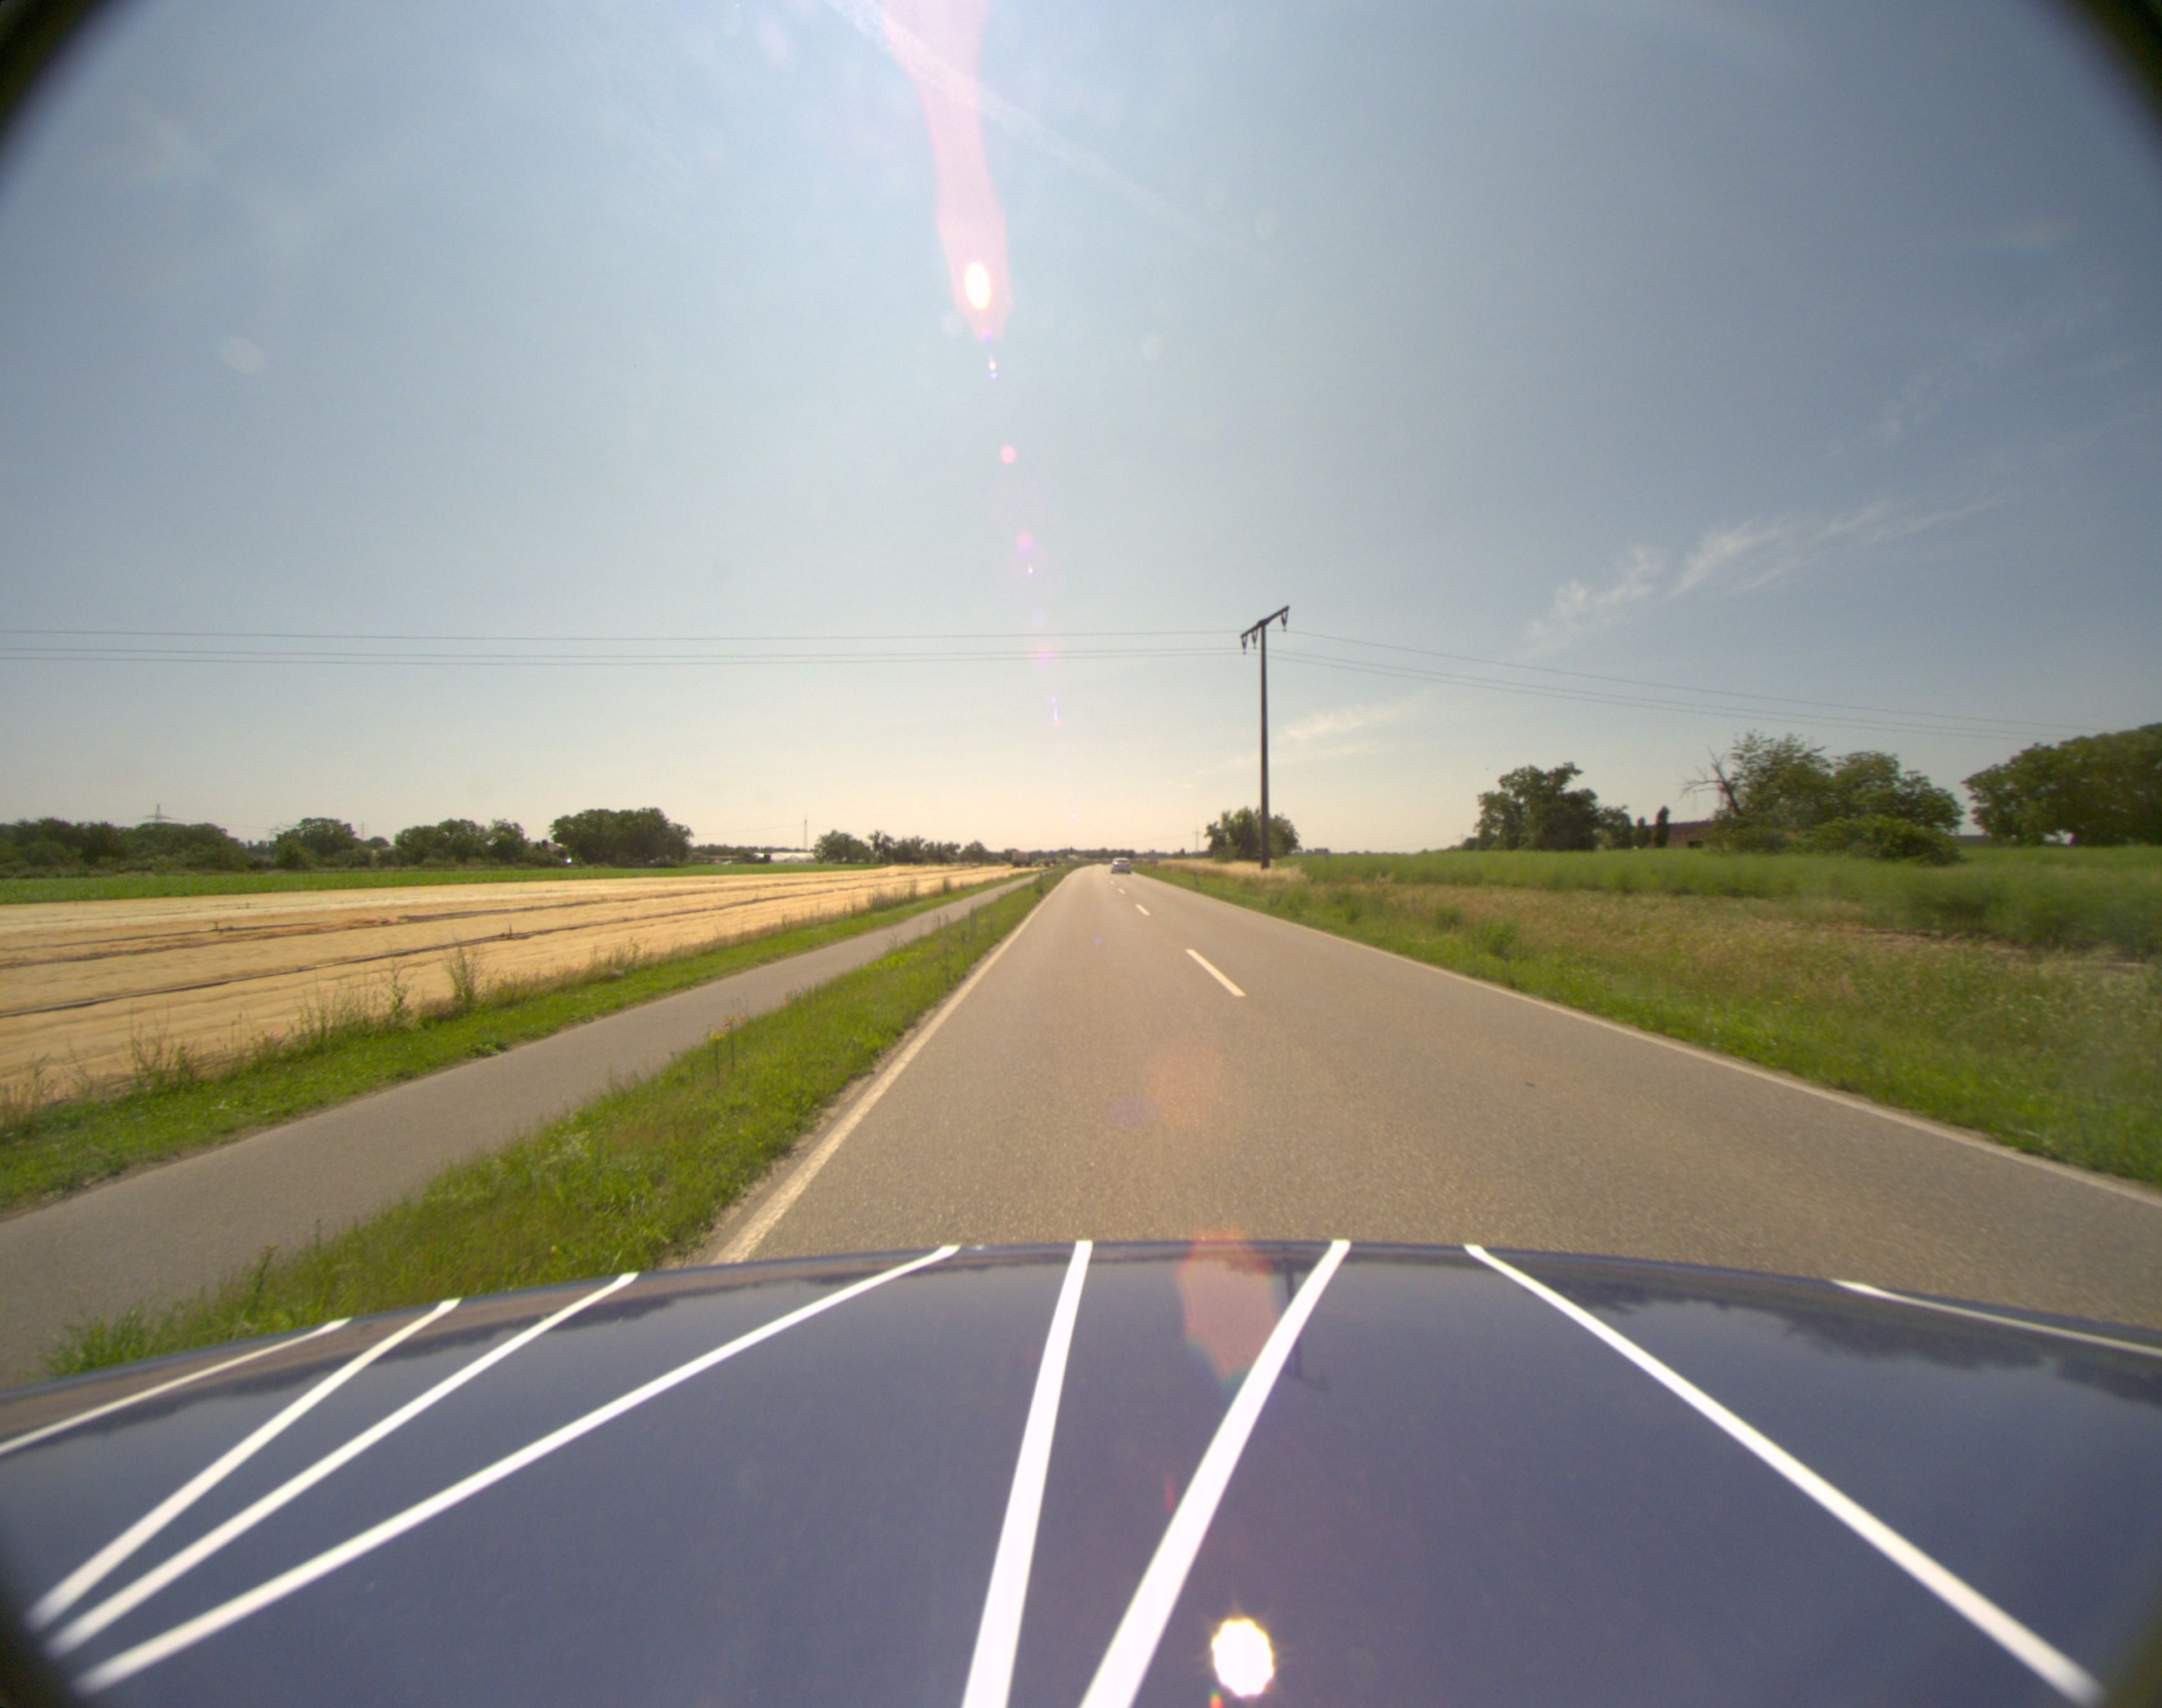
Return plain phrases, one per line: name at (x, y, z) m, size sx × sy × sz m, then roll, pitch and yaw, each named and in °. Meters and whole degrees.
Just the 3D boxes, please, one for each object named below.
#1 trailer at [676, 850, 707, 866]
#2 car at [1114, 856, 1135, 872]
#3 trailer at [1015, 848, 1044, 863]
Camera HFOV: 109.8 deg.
trailer at (-112.012, 1.134, 218.395) m, size 7.428 × 4.197 × 3.161 m, roll -1°, pitch 1°, yaw 13°
car at (4.055, 0.940, 71.428) m, size 1.796 × 1.401 × 4.185 m, roll 1°, pitch 0°, yaw 0°
trailer at (-10.172, 0.225, 149.555) m, size 5.283 × 2.936 × 2.002 m, roll 1°, pitch 2°, yaw 20°
